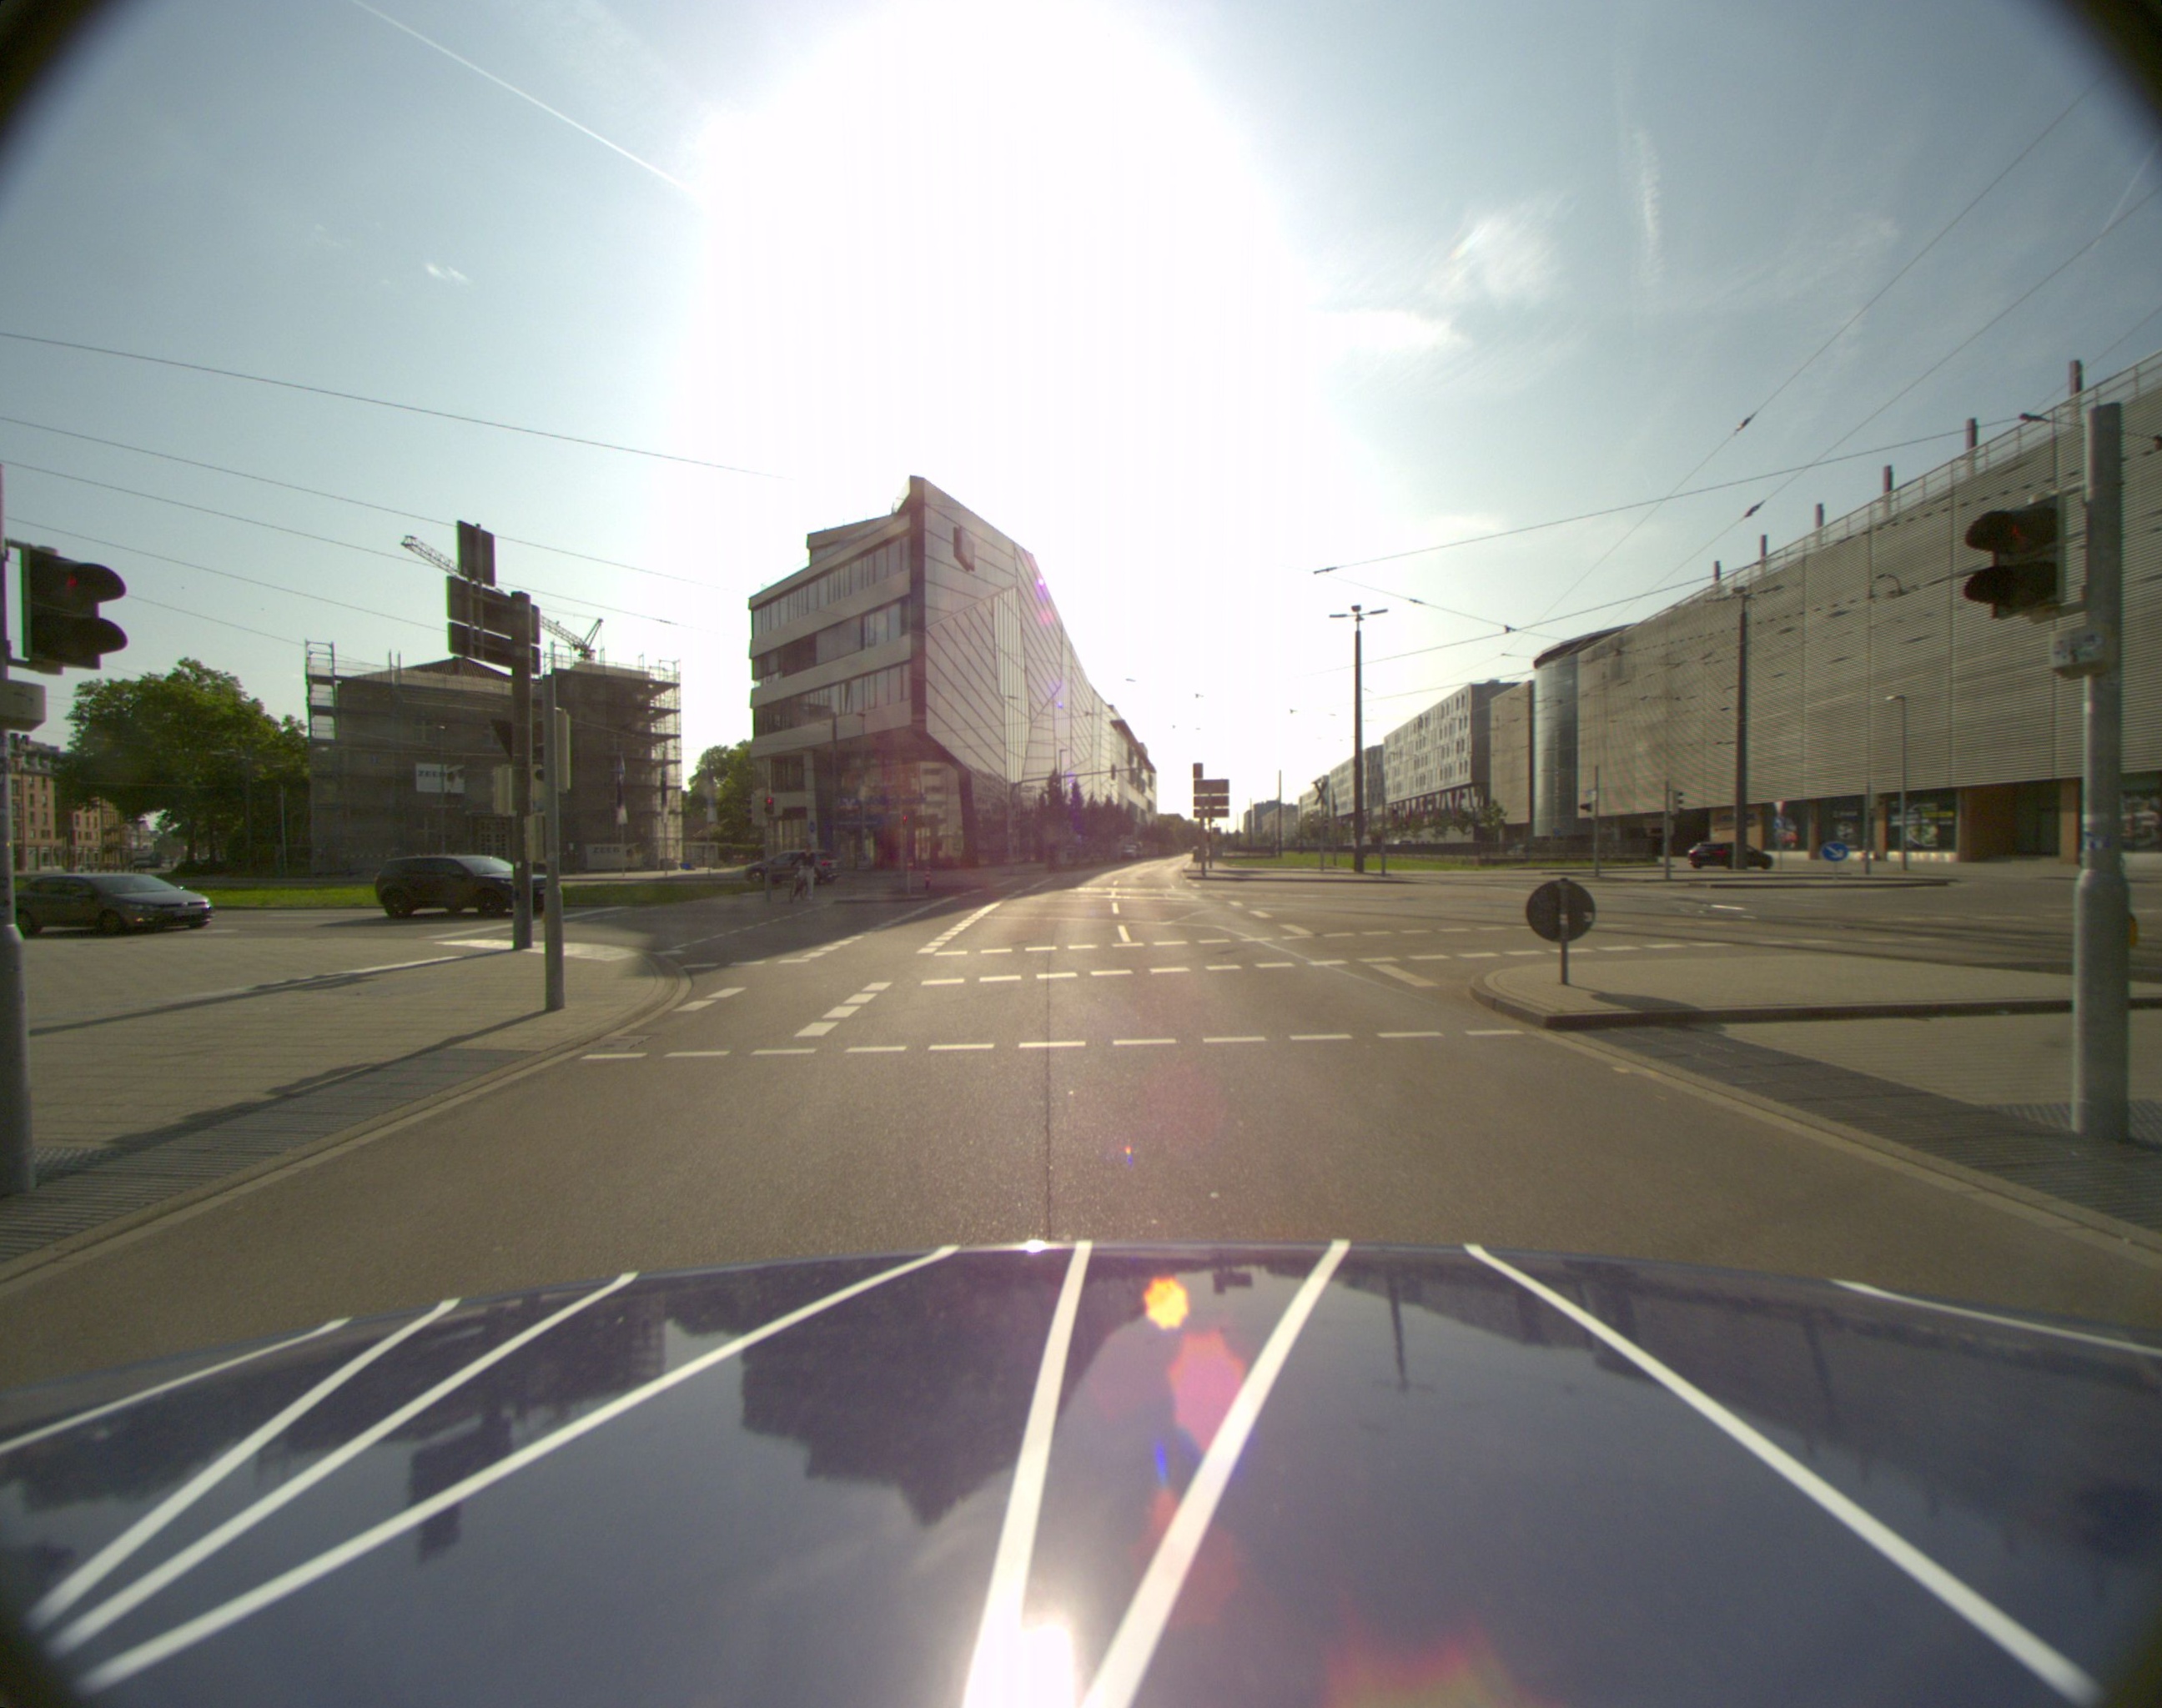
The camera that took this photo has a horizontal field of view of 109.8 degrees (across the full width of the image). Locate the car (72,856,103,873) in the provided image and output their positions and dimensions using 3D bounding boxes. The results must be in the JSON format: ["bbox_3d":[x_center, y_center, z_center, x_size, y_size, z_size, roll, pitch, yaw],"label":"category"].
[{"bbox_3d":[-127.976,1.290,97.875,3.987,1.968,2.004,2,3,43],"label":"car"}]

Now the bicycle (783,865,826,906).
[{"bbox_3d":[-8.396,0.929,23.143,0.669,1.092,1.803,0,2,-2],"label":"bicycle"}]

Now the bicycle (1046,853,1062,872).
[{"bbox_3d":[-1.636,0.501,45.734,0.418,1.050,1.961,0,2,15],"label":"bicycle"}]

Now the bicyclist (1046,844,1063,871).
[{"bbox_3d":[-1.616,0.185,45.700,0.782,1.578,0.933,0,3,15],"label":"bicyclist"}]

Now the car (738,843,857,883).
[{"bbox_3d":[-13.234,0.374,35.581,4.809,1.773,1.956,0,2,6],"label":"car"}]

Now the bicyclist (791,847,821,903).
[{"bbox_3d":[-8.407,0.629,23.225,0.669,1.693,0.636,0,3,-2],"label":"bicyclist"}]

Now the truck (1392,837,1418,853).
[{"bbox_3d":[47.577,-1.342,111.666,2.205,2.308,4.552,-1,1,4],"label":"truck"}]

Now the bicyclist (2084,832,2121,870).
[{"bbox_3d":[44.255,-0.125,32.916,0.568,1.621,0.715,0,3,11],"label":"bicyclist"}]

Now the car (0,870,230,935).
[{"bbox_3d":[-23.408,1.144,18.472,3.890,1.411,1.645,0,1,6],"label":"car"}]

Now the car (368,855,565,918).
[{"bbox_3d":[-16.976,0.869,21.097,4.215,1.668,1.804,0,0,7],"label":"car"}]

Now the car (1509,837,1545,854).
[{"bbox_3d":[42.610,-0.860,72.665,1.741,1.551,3.403,0,2,8],"label":"car"}]

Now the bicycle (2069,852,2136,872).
[{"bbox_3d":[44.253,0.342,32.946,0.581,0.775,1.870,0,2,11],"label":"bicycle"}]
